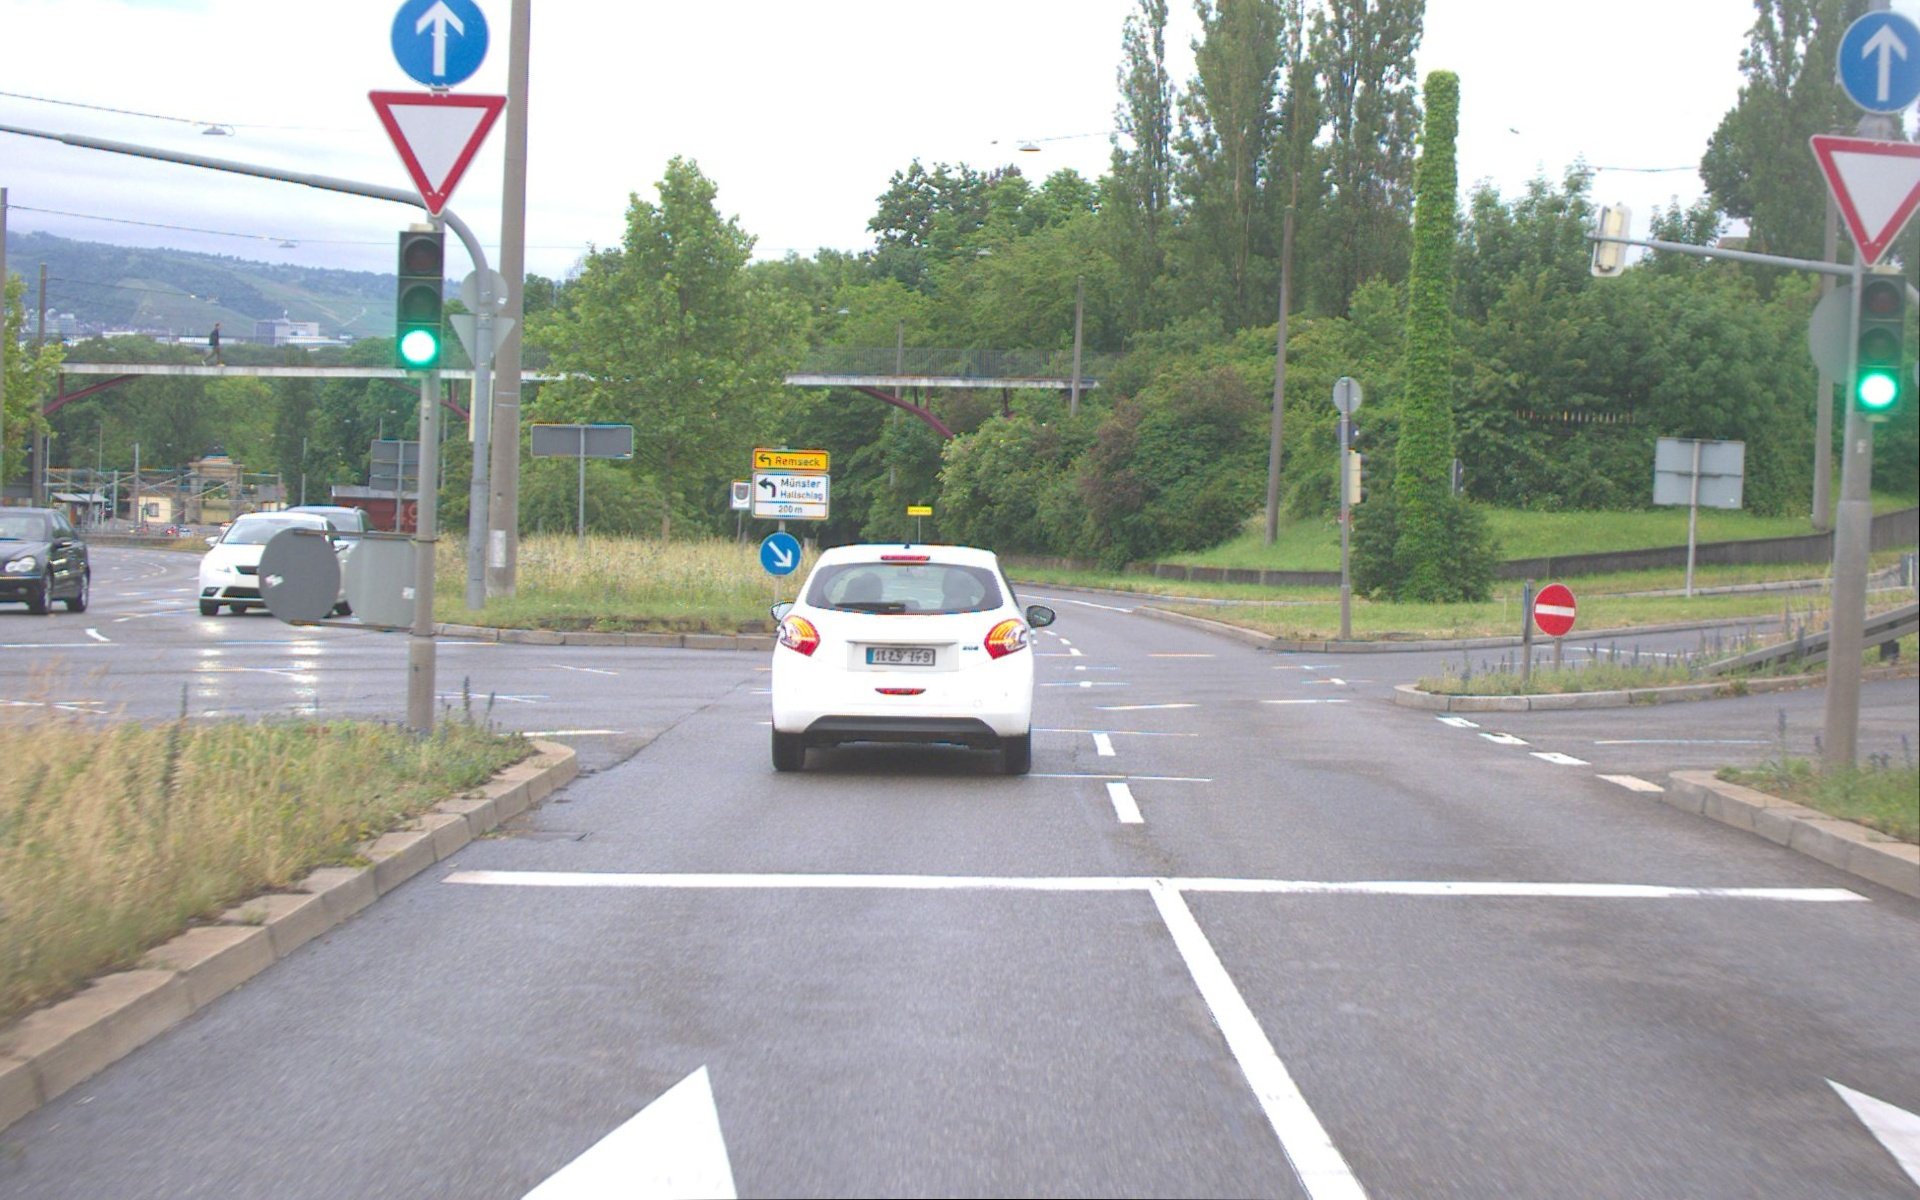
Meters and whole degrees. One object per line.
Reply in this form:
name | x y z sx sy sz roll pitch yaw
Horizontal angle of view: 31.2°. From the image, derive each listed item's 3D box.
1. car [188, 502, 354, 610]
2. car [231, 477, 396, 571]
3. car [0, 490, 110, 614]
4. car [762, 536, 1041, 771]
car | -9.509 -0.599 47.704 1.737 1.368 4.001 2 0 -4
car | -10.207 -1.230 54.509 1.895 1.320 4.001 2 3 -1
car | -12.482 -0.621 45.008 1.895 1.532 4.000 2 0 -4
car | -0.338 0.325 23.199 1.708 1.435 3.690 1 0 1
